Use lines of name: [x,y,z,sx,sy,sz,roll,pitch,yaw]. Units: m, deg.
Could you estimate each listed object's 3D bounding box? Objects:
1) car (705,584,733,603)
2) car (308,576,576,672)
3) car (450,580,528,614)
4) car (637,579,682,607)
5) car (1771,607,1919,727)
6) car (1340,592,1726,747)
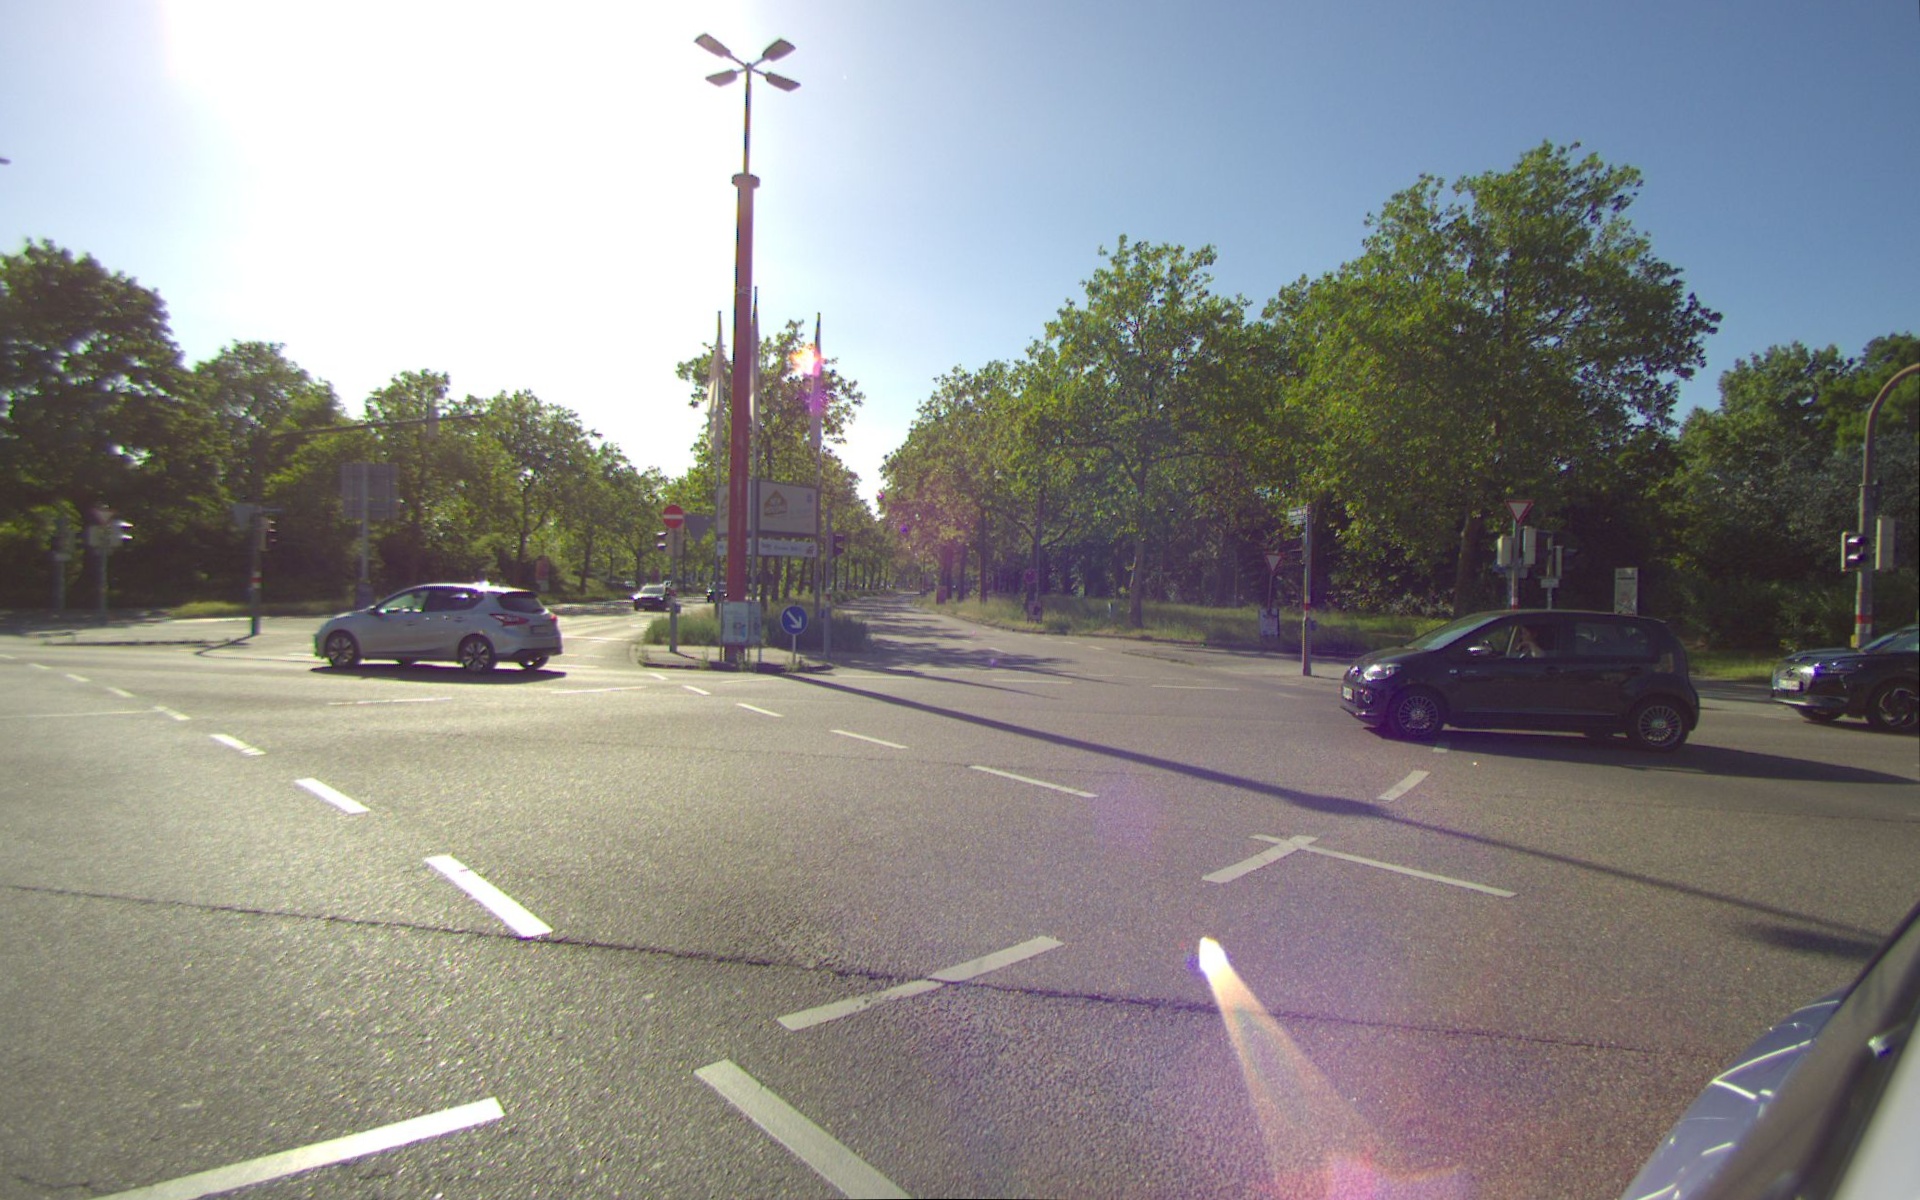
car: [-20.521,-0.506,86.211,1.738,1.527,4.229,1,-1,-5]
car: [-9.189,0.402,18.070,4.073,1.536,1.721,1,-1,12]
car: [-22.667,-0.123,48.831,1.831,1.536,4.136,1,-1,0]
car: [-17.234,-0.387,58.165,1.738,1.527,4.231,1,0,-6]
car: [13.636,0.888,13.581,3.901,1.513,1.709,1,0,12]
car: [6.247,0.709,11.410,3.398,1.513,1.617,1,0,11]
